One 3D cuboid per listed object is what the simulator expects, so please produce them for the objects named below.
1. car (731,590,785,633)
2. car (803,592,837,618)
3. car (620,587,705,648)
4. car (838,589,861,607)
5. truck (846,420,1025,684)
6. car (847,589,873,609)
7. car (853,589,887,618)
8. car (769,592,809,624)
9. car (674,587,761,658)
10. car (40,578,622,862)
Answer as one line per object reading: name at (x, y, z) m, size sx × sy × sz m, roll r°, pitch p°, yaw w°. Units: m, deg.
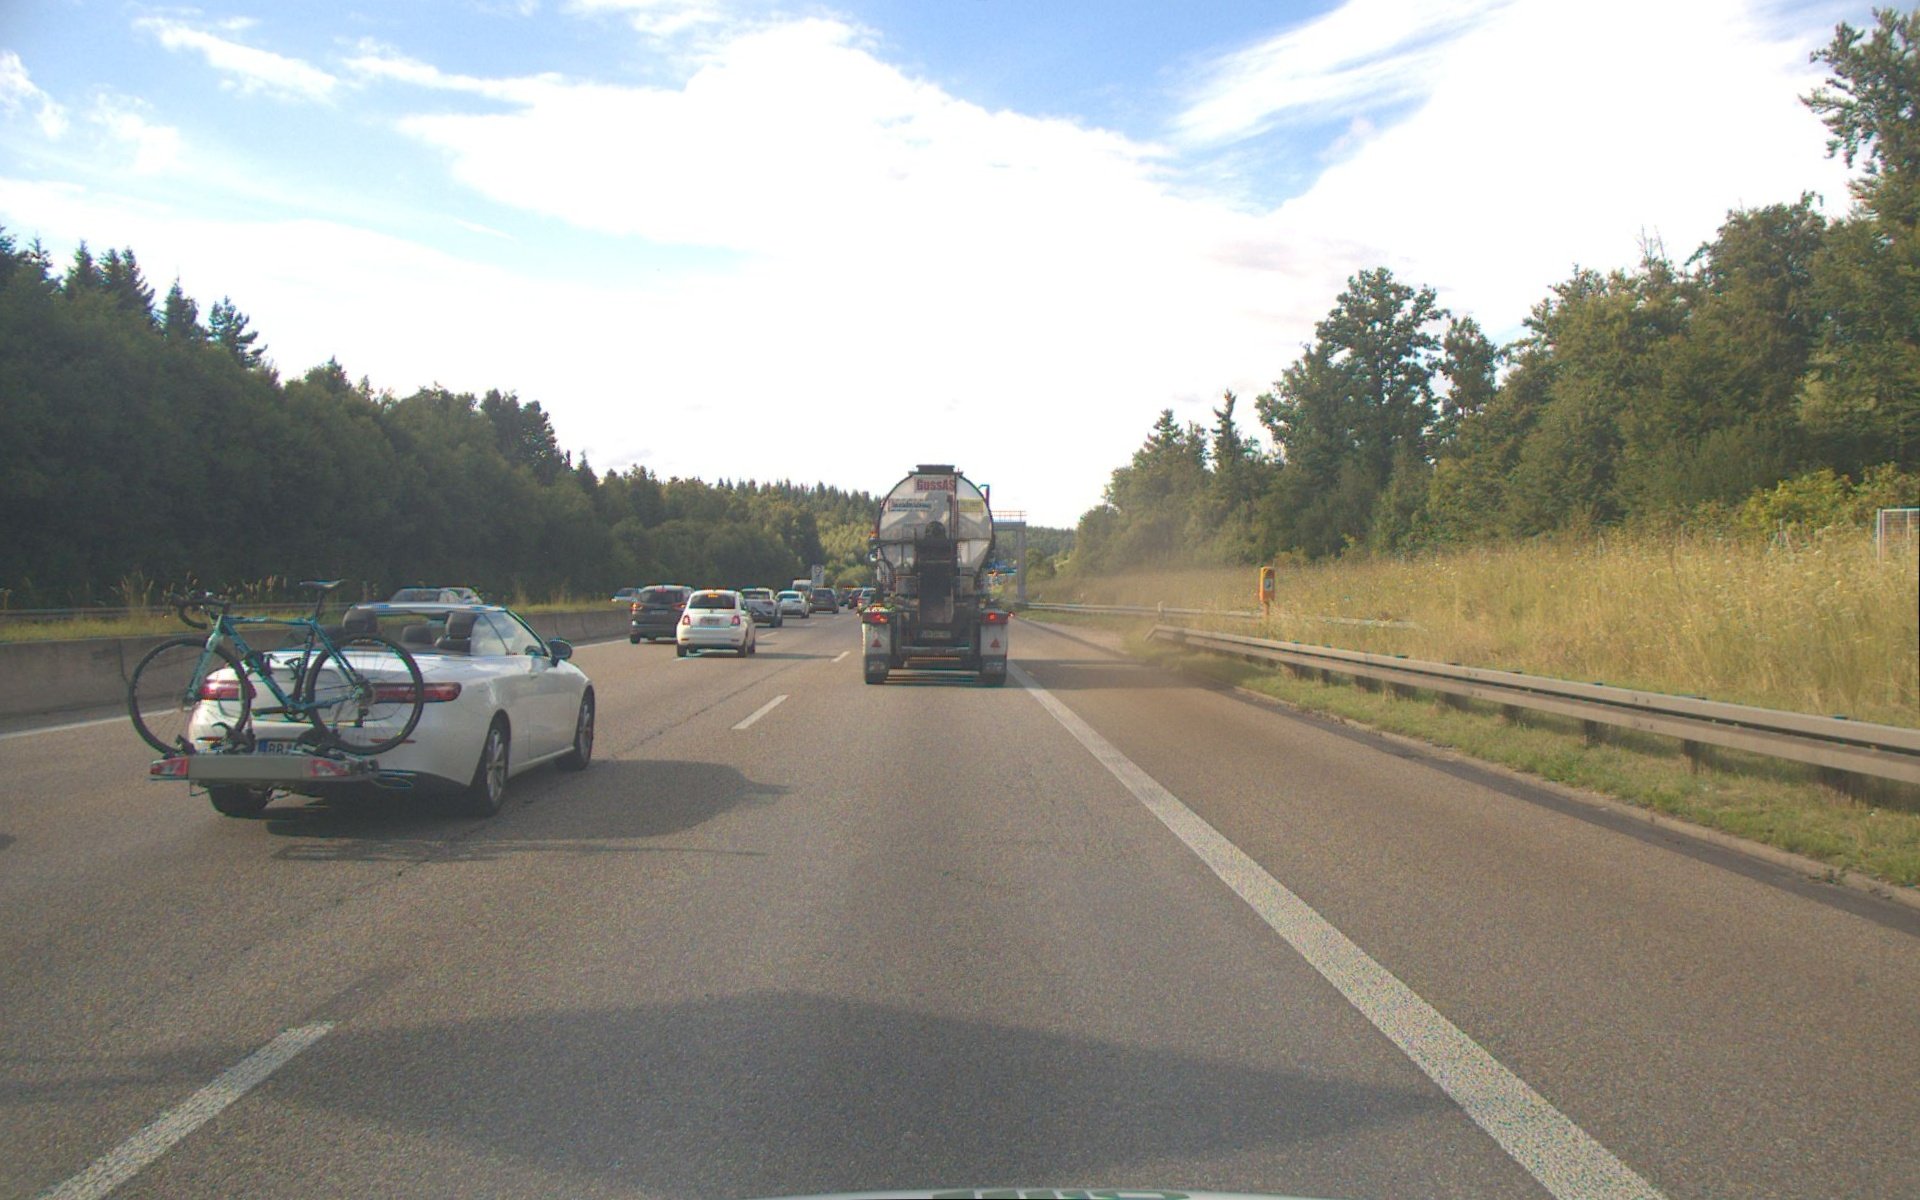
car at (-8.265, 0.444, 67.952) m, size 1.770 × 1.613 × 4.206 m, roll 1°, pitch 1°, yaw -1°
car at (-9.167, 0.305, 108.443) m, size 1.903 × 1.613 × 4.206 m, roll 1°, pitch 1°, yaw -1°
car at (-8.479, 0.459, 47.453) m, size 1.770 × 1.613 × 4.206 m, roll 1°, pitch 1°, yaw -1°
car at (-10.004, -0.172, 149.799) m, size 1.903 × 1.482 × 4.206 m, roll 1°, pitch 1°, yaw -1°
truck at (-0.449, -0.805, 32.289) m, size 2.853 × 4.230 × 11.268 m, roll 0°, pitch 0°, yaw -1°
car at (-7.893, -0.123, 131.142) m, size 1.903 × 1.482 × 4.206 m, roll 1°, pitch 1°, yaw -1°
car at (-5.489, 0.213, 101.595) m, size 1.903 × 1.683 × 4.206 m, roll 1°, pitch 1°, yaw -1°
car at (-9.229, 0.410, 89.426) m, size 1.770 × 1.613 × 4.206 m, roll 1°, pitch 1°, yaw -1°
car at (-5.649, 0.512, 38.858) m, size 1.585 × 1.571 × 3.519 m, roll 1°, pitch 0°, yaw -1°
car at (-3.975, 0.637, 11.791) m, size 2.018 × 1.525 × 5.735 m, roll 0°, pitch 0°, yaw -1°
